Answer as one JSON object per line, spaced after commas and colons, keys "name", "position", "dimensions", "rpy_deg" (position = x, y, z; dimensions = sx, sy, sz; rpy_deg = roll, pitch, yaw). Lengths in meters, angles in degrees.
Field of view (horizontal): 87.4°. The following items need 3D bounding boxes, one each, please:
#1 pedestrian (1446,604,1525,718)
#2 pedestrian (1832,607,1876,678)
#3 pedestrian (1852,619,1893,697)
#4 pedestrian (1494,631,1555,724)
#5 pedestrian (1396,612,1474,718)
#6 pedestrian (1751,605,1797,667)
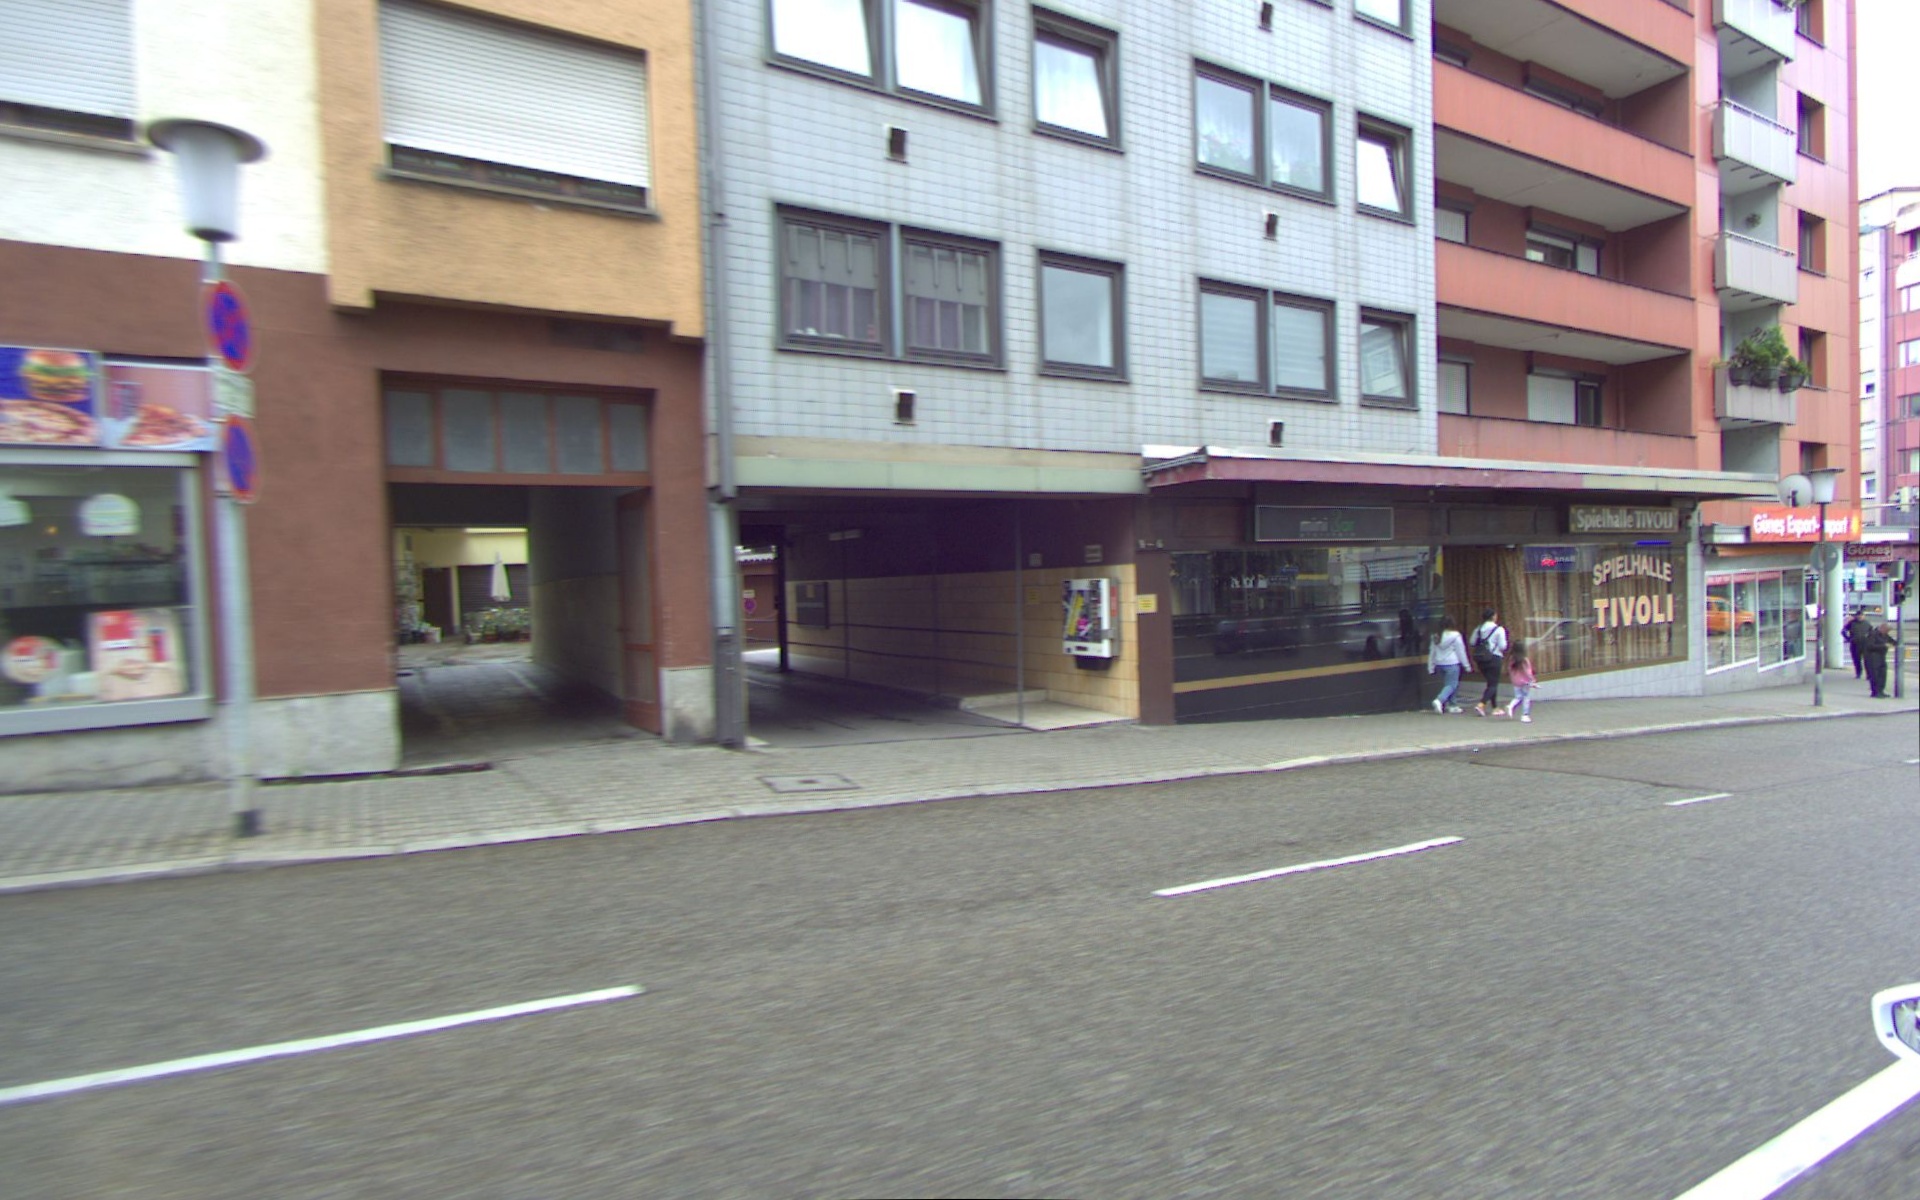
{"name": "pedestrian", "position": [8.348, 0.947, 15.967], "dimensions": [0.717, 1.712, 0.820], "rpy_deg": [1, 2, -39]}
{"name": "pedestrian", "position": [24.346, 1.143, 27.381], "dimensions": [0.750, 1.873, 0.842], "rpy_deg": [1, 0, 33]}
{"name": "pedestrian", "position": [20.627, 1.302, 22.703], "dimensions": [0.617, 1.720, 0.551], "rpy_deg": [1, 0, -34]}
{"name": "pedestrian", "position": [8.606, 1.161, 15.307], "dimensions": [0.717, 1.341, 0.529], "rpy_deg": [1, 2, -39]}
{"name": "pedestrian", "position": [7.510, 0.995, 15.885], "dimensions": [0.717, 1.582, 0.820], "rpy_deg": [1, 2, -39]}
{"name": "pedestrian", "position": [24.771, 1.094, 30.580], "dimensions": [0.813, 1.856, 0.723], "rpy_deg": [1, 0, 0]}
